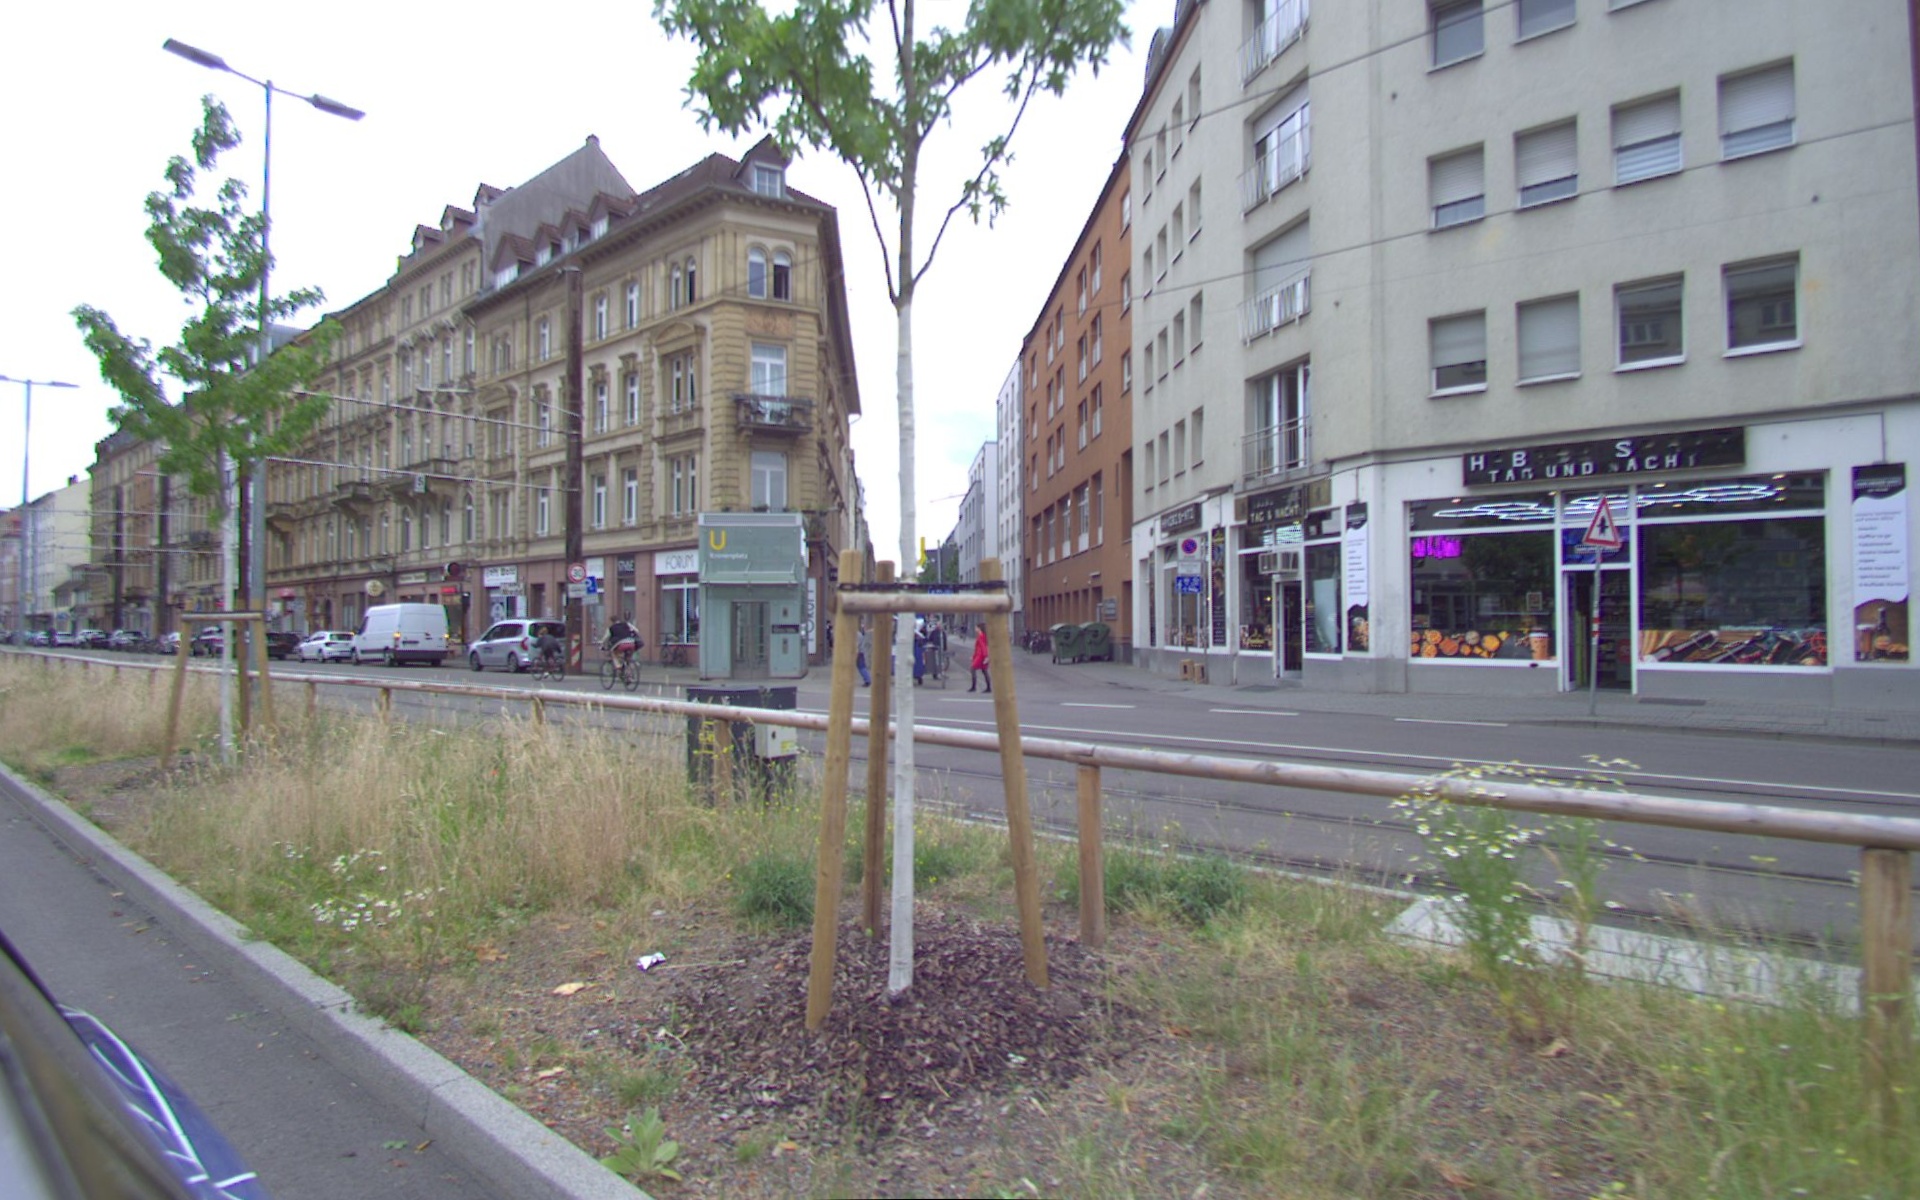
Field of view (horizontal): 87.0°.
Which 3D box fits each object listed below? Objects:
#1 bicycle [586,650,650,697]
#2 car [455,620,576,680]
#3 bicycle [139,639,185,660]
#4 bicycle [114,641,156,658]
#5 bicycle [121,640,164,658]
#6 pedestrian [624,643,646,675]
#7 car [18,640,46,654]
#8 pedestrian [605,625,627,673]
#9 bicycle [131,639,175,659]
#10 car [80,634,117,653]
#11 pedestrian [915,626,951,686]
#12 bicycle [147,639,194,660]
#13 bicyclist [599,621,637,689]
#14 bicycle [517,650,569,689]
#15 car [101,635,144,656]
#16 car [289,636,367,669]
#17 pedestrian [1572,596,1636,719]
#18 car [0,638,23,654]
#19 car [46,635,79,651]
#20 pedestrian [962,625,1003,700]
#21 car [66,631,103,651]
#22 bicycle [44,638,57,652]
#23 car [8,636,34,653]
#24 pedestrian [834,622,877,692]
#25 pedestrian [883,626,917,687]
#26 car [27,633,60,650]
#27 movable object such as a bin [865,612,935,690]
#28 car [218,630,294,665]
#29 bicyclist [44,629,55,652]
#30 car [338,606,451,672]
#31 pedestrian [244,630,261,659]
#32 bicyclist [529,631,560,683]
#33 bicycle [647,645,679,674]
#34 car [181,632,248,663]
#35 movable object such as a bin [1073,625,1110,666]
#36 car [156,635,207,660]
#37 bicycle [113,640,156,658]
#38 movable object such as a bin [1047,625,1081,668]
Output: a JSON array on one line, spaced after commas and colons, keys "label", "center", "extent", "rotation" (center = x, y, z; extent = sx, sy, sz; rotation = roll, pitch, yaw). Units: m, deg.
[{"label": "bicycle", "center": [-7.934, 1.676, 23.435], "extent": [1.910, 1.029, 0.471], "rotation": [-2, -3, 40]}, {"label": "car", "center": [-15.134, 1.685, 34.345], "extent": [4.516, 1.879, 1.884], "rotation": [-2, -4, 39]}, {"label": "bicycle", "center": [-53.214, 3.303, 67.481], "extent": [0.666, 1.339, 2.258], "rotation": [-2, -4, 41]}, {"label": "bicycle", "center": [-59.499, 3.559, 73.010], "extent": [0.547, 1.212, 2.258], "rotation": [-2, -2, 41]}, {"label": "bicycle", "center": [-57.949, 3.477, 71.775], "extent": [0.704, 1.212, 2.258], "rotation": [-2, -4, 41]}, {"label": "pedestrian", "center": [-11.022, 1.991, 34.319], "extent": [0.547, 1.038, 0.454], "rotation": [0, -1, -41]}, {"label": "car", "center": [-99.172, 5.049, 108.170], "extent": [3.431, 1.391, 1.631], "rotation": [-3, -4, 38]}, {"label": "pedestrian", "center": [-11.622, 1.640, 34.153], "extent": [0.546, 1.568, 0.659], "rotation": [0, -1, -32]}, {"label": "bicycle", "center": [-55.796, 3.406, 69.969], "extent": [0.666, 1.339, 2.258], "rotation": [-2, -4, 41]}, {"label": "car", "center": [-70.166, 3.532, 82.387], "extent": [3.919, 1.500, 1.725], "rotation": [-2, -4, 42]}, {"label": "pedestrian", "center": [-0.786, 1.608, 29.330], "extent": [0.651, 1.700, 0.926], "rotation": [2, -1, -34]}, {"label": "bicycle", "center": [-51.254, 3.206, 65.728], "extent": [0.666, 1.339, 2.258], "rotation": [-2, -4, 41]}, {"label": "bicyclist", "center": [-7.925, 1.258, 23.453], "extent": [0.811, 1.552, 0.486], "rotation": [-2, -3, 39]}, {"label": "bicycle", "center": [-11.632, 1.919, 28.199], "extent": [1.910, 1.029, 0.474], "rotation": [-2, -3, 40]}, {"label": "car", "center": [-62.604, 3.423, 75.603], "extent": [4.222, 1.545, 1.726], "rotation": [-2, -4, 40]}, {"label": "car", "center": [-28.956, 2.373, 46.322], "extent": [4.161, 1.434, 1.753], "rotation": [-2, -5, 39]}, {"label": "pedestrian", "center": [9.193, 0.807, 14.470], "extent": [0.719, 1.700, 0.656], "rotation": [0, -1, 28]}, {"label": "car", "center": [-110.380, 5.328, 117.708], "extent": [4.180, 1.684, 1.682], "rotation": [-2, -1, 42]}, {"label": "car", "center": [-84.400, 4.017, 95.172], "extent": [4.043, 1.476, 1.726], "rotation": [-2, -4, 40]}, {"label": "pedestrian", "center": [0.531, 1.448, 23.658], "extent": [0.659, 1.700, 0.715], "rotation": [0, -1, 30]}, {"label": "car", "center": [-74.079, 3.494, 85.643], "extent": [4.043, 1.685, 1.726], "rotation": [-2, -4, 40]}, {"label": "bicycle", "center": [-76.475, 3.769, 85.075], "extent": [2.044, 1.183, 0.578], "rotation": [-2, -4, 43]}, {"label": "car", "center": [-102.789, 4.855, 110.752], "extent": [3.919, 1.770, 1.684], "rotation": [-2, -3, 43]}, {"label": "pedestrian", "center": [-2.637, 1.422, 25.421], "extent": [0.811, 1.700, 0.725], "rotation": [2, -1, -32]}, {"label": "pedestrian", "center": [-1.696, 1.582, 28.683], "extent": [0.651, 1.700, 0.725], "rotation": [2, -1, -34]}, {"label": "car", "center": [-88.406, 4.037, 97.571], "extent": [4.542, 1.533, 1.805], "rotation": [-3, -4, 41]}, {"label": "movable object such as a bin", "center": [-1.607, 1.324, 26.928], "extent": [1.018, 1.996, 1.619], "rotation": [2, -1, -43]}, {"label": "car", "center": [-36.495, 2.467, 52.412], "extent": [5.047, 1.702, 1.900], "rotation": [-2, -5, 40]}, {"label": "bicyclist", "center": [-76.740, 3.394, 85.308], "extent": [1.028, 1.897, 0.638], "rotation": [-2, -1, 42]}, {"label": "car", "center": [-23.123, 1.613, 41.287], "extent": [5.661, 2.506, 2.032], "rotation": [-2, -5, 40]}, {"label": "pedestrian", "center": [-44.710, 2.819, 63.966], "extent": [0.644, 1.796, 0.787], "rotation": [-1, -1, -13]}, {"label": "bicyclist", "center": [-11.570, 1.575, 28.167], "extent": [0.811, 1.417, 0.474], "rotation": [-2, -3, 39]}, {"label": "bicycle", "center": [-10.234, 2.035, 34.825], "extent": [0.336, 0.966, 1.689], "rotation": [0, -1, -42]}, {"label": "car", "center": [-42.923, 2.746, 58.231], "extent": [5.024, 1.703, 1.796], "rotation": [-2, -3, 38]}, {"label": "movable object such as a bin", "center": [4.731, 1.635, 36.551], "extent": [0.995, 1.416, 1.241], "rotation": [-1, -1, -8]}, {"label": "car", "center": [-49.020, 2.989, 63.682], "extent": [3.917, 1.500, 1.726], "rotation": [-2, -4, 40]}, {"label": "bicycle", "center": [-59.074, 3.524, 72.454], "extent": [0.704, 1.212, 2.258], "rotation": [-2, -4, 41]}, {"label": "movable object such as a bin", "center": [3.736, 1.656, 36.442], "extent": [0.931, 1.512, 1.241], "rotation": [-1, -1, -8]}]
